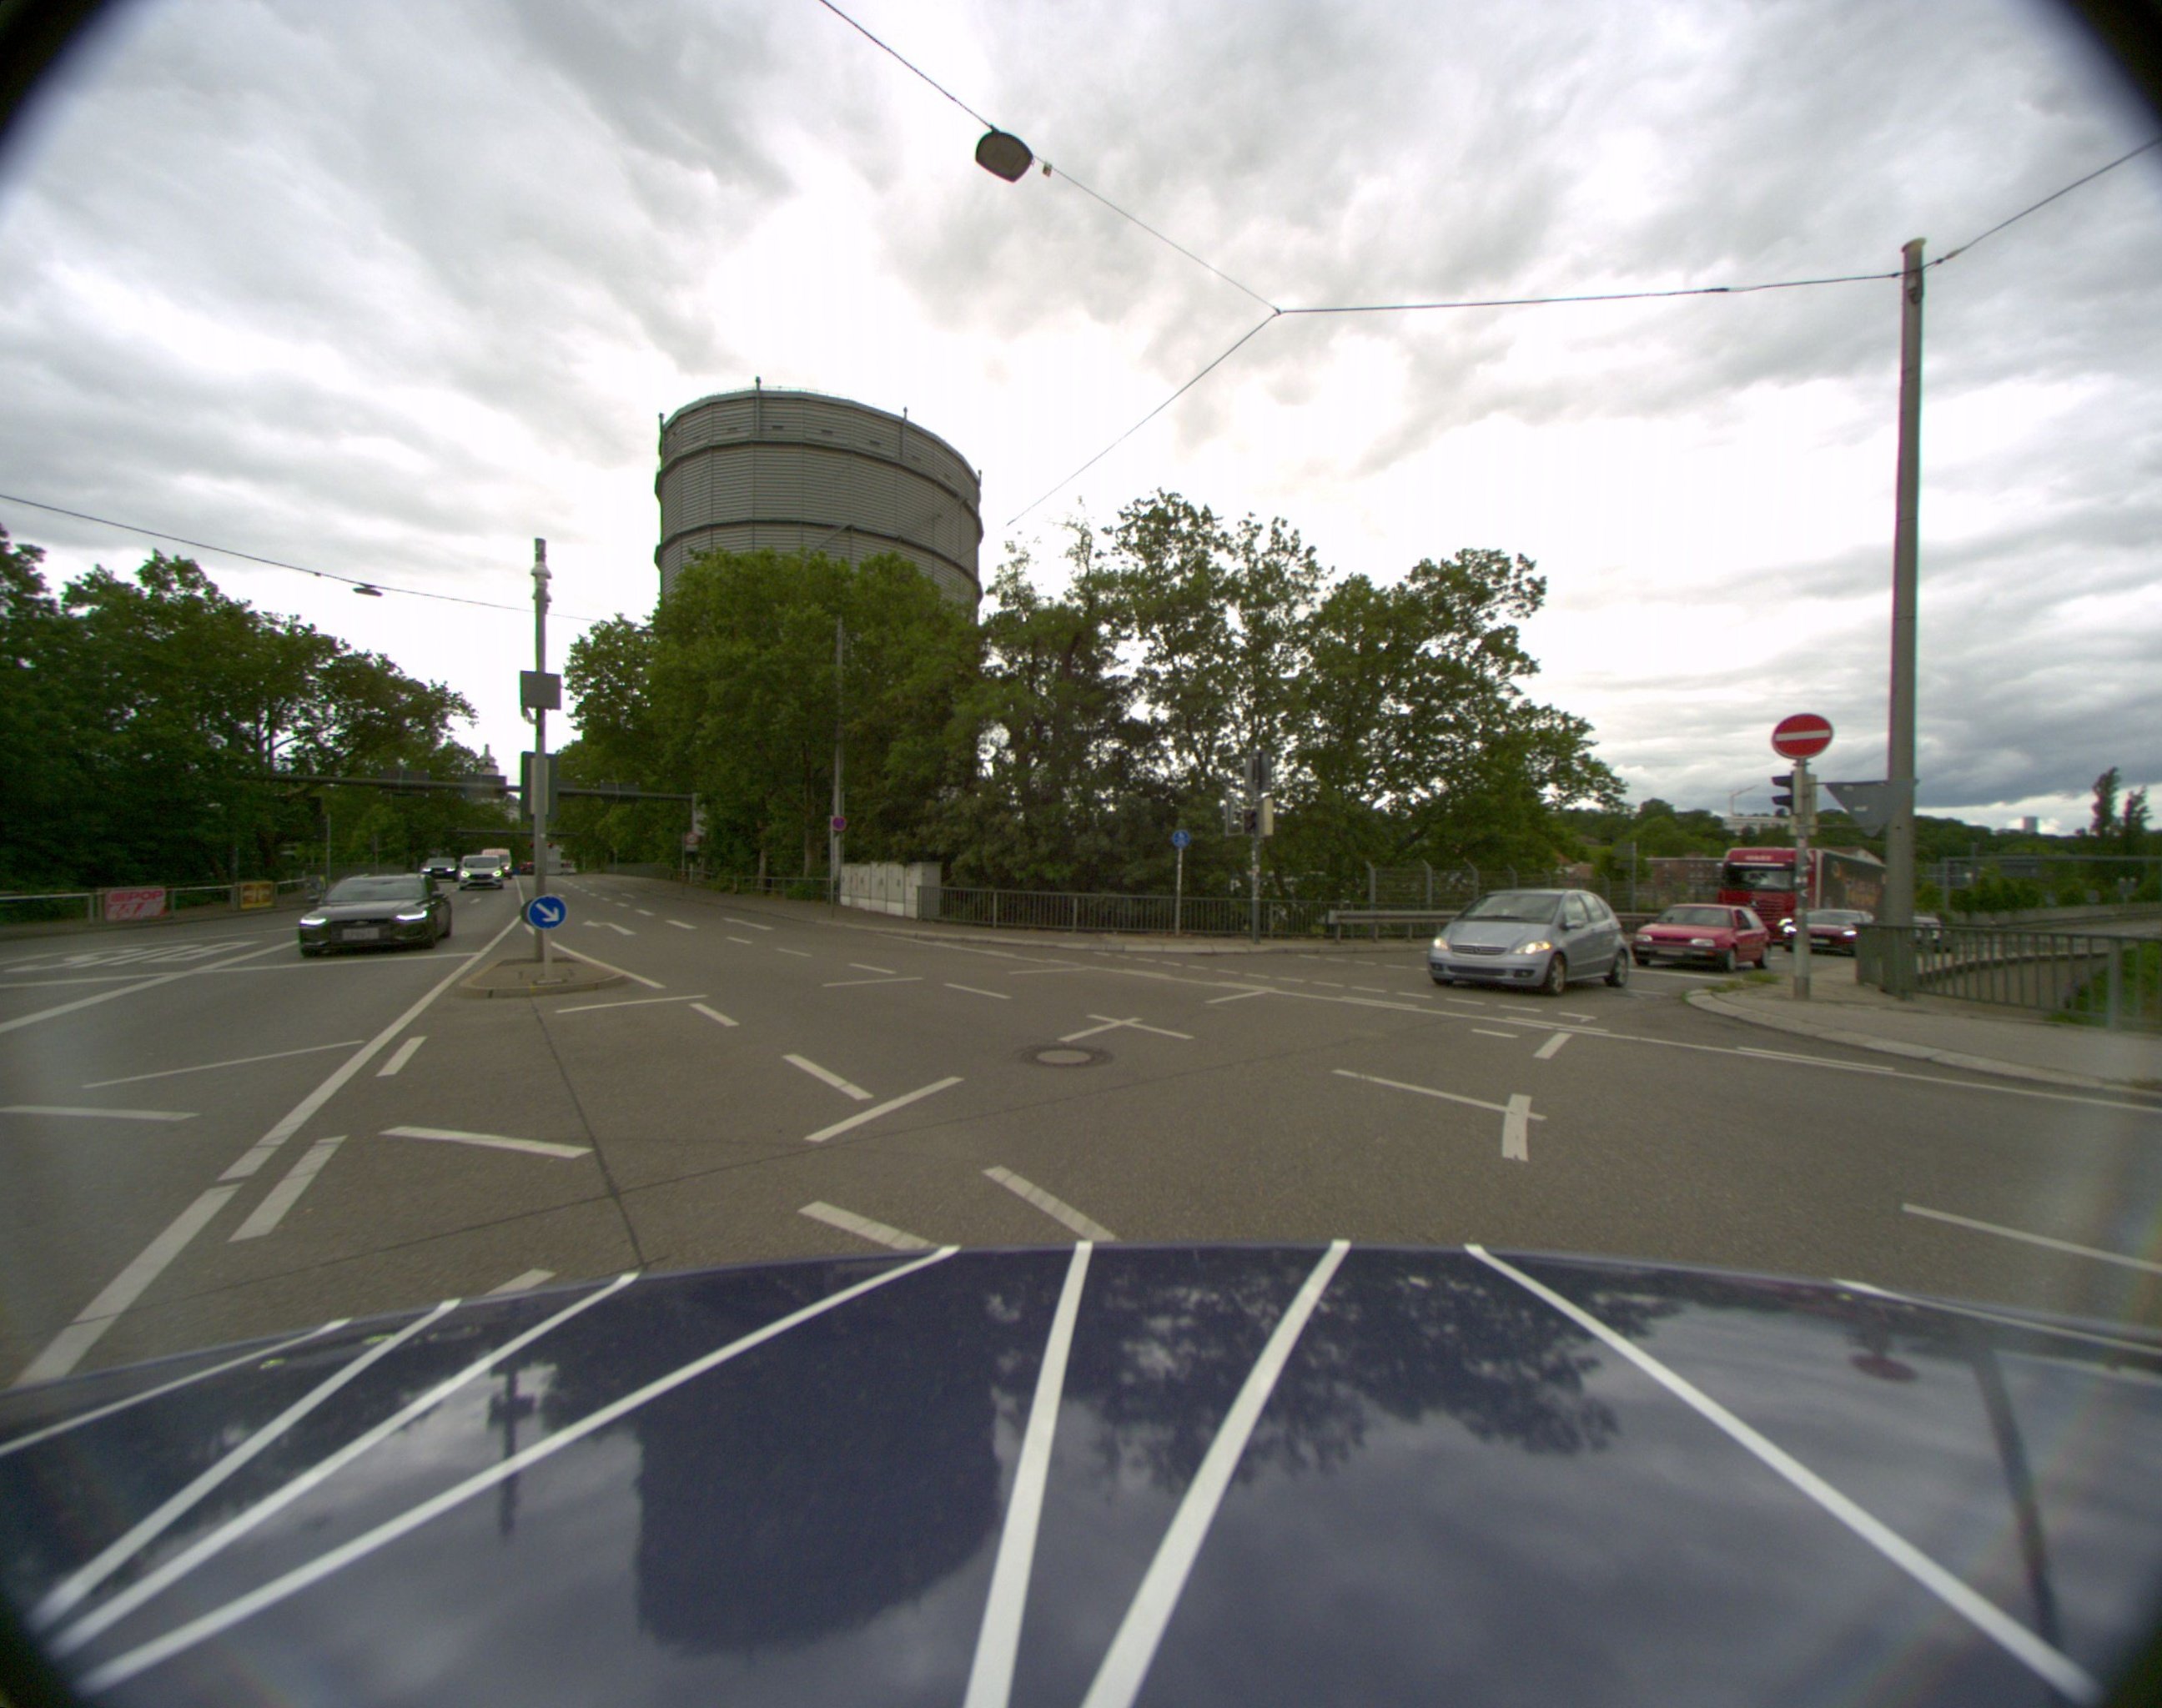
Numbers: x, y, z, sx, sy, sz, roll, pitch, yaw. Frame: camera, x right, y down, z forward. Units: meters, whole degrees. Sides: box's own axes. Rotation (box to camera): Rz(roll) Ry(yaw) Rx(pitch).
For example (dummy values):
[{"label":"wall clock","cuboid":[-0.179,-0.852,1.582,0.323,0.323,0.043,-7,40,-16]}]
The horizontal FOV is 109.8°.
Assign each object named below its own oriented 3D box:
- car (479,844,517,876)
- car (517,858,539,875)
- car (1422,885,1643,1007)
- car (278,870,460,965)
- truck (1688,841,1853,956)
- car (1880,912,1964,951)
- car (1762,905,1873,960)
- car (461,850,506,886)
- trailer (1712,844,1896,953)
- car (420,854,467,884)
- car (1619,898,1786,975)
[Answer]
[{"label":"car","cuboid":[-48.024,0.518,62.634,2.338,2.508,4.935,2,-1,-37]},{"label":"car","cuboid":[-69.367,1.580,95.330,2.003,2.002,3.989,-1,1,-33]},{"label":"car","cuboid":[7.208,1.342,12.018,3.690,1.594,1.744,3,-2,-37]},{"label":"car","cuboid":[-13.986,1.129,15.230,1.938,1.412,4.440,-1,1,-34]},{"label":"truck","cuboid":[29.127,1.850,31.994,7.251,4.294,3.662,3,-2,-35]},{"label":"car","cuboid":[34.544,3.129,31.174,4.477,1.411,1.693,3,-2,-34]},{"label":"car","cuboid":[24.229,2.498,24.955,4.476,1.411,1.693,0,0,-34]},{"label":"car","cuboid":[-34.983,0.857,44.553,1.938,1.986,4.441,1,-2,-37]},{"label":"trailer","cuboid":[34.155,2.123,35.574,13.812,4.294,3.662,3,-2,-35]},{"label":"car","cuboid":[-46.665,1.057,55.683,2.337,1.905,4.934,1,1,-37]},{"label":"car","cuboid":[13.760,1.741,16.762,3.963,1.454,1.744,3,-2,-33]}]
